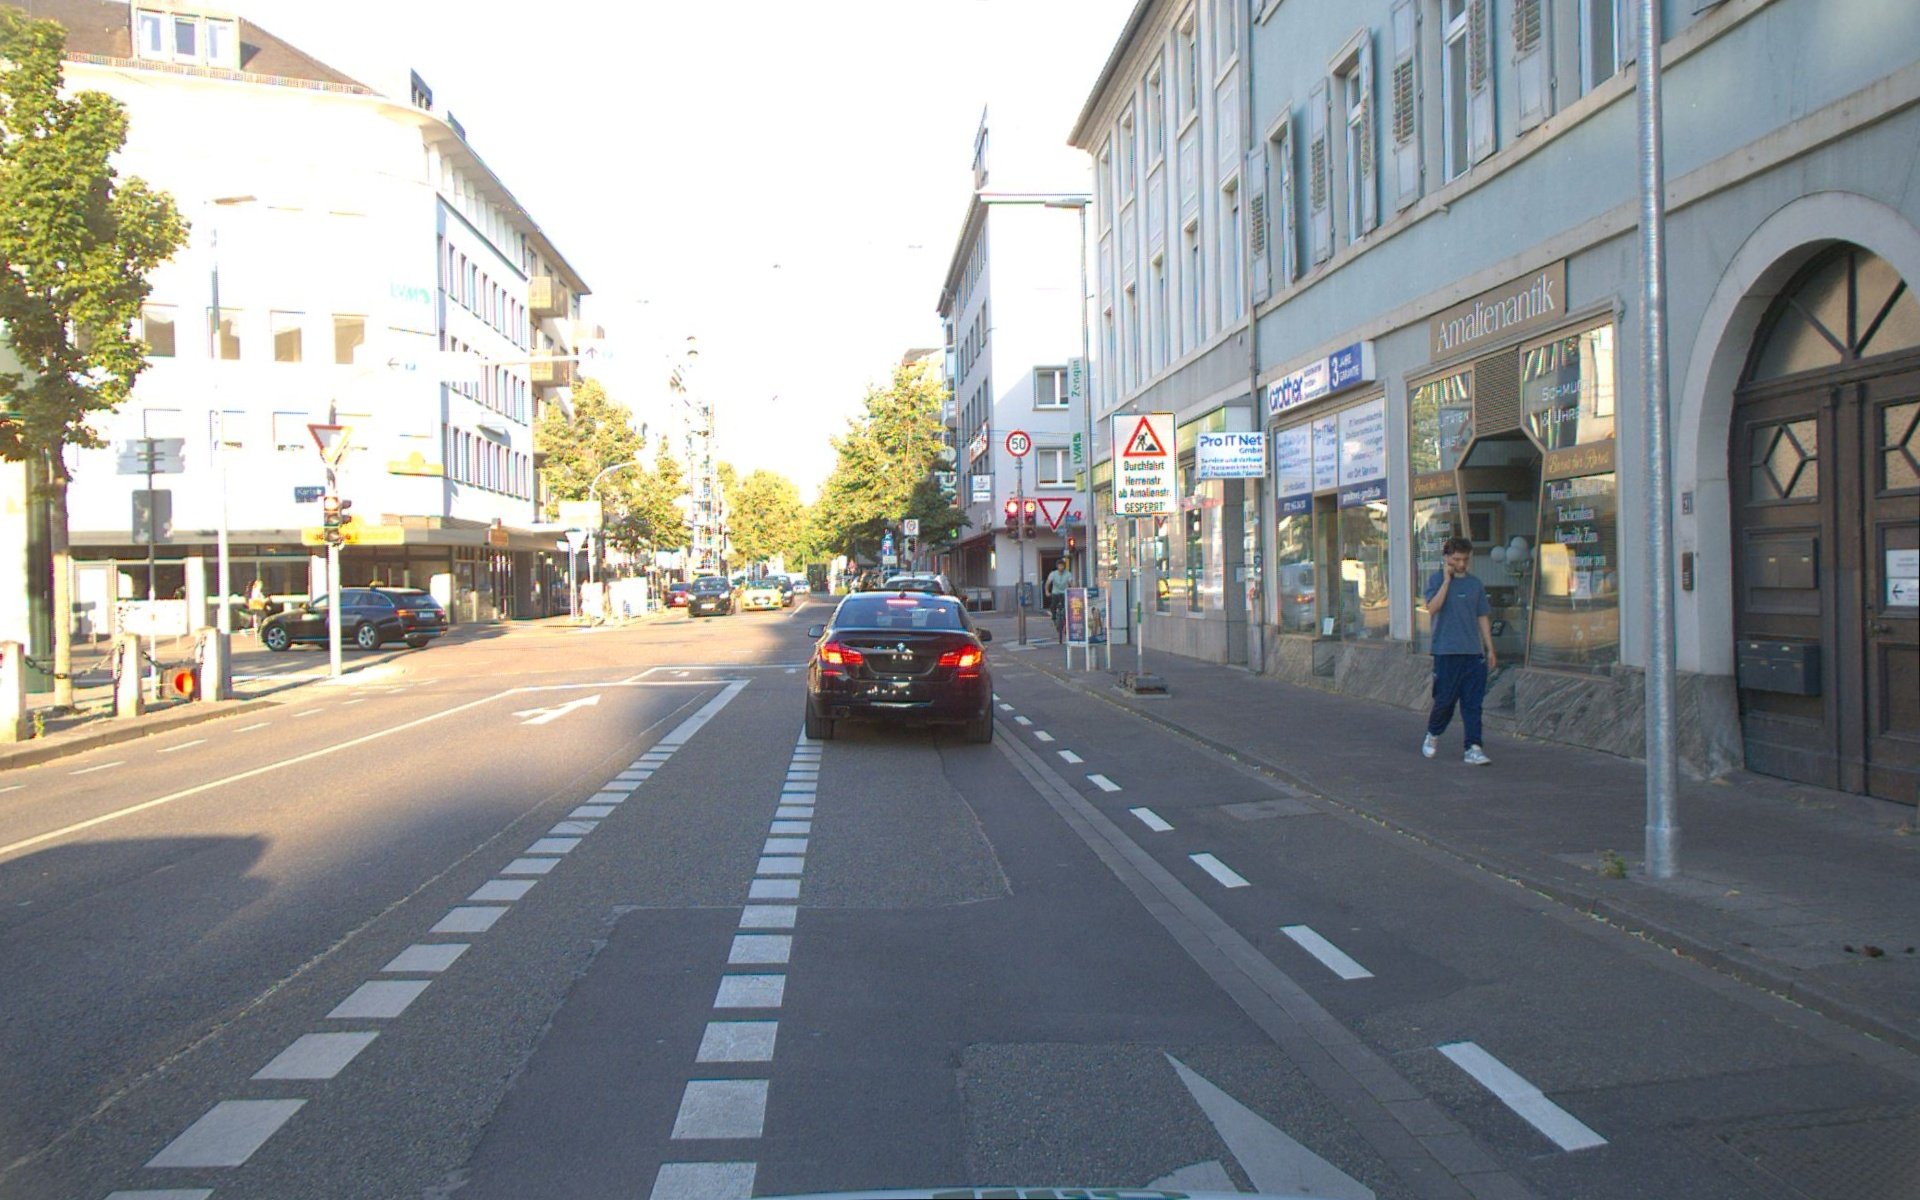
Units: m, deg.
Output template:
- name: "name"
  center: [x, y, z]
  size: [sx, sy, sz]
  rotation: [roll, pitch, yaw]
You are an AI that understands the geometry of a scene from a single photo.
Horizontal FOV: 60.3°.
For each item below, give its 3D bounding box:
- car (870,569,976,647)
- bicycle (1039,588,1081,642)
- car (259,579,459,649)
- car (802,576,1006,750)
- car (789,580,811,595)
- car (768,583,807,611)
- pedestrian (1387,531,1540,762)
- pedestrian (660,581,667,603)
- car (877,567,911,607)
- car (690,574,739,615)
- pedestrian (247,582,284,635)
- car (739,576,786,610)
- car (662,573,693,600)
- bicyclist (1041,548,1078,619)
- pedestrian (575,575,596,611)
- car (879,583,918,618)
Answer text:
- name: "car"
  center: [-0.752, 0.135, 36.529]
  size: [1.794, 1.603, 4.103]
  rotation: [-1, 1, 6]
- name: "bicycle"
  center: [2.202, 0.313, 36.565]
  size: [0.676, 1.126, 1.895]
  rotation: [-1, 1, -3]
- name: "car"
  center: [-14.578, 0.336, 40.154]
  size: [4.342, 1.623, 1.879]
  rotation: [-1, 1, 19]
- name: "car"
  center: [-0.702, 0.553, 17.464]
  size: [1.866, 1.567, 4.445]
  rotation: [1, 1, -5]
- name: "car"
  center: [-14.576, -1.181, 150.123]
  size: [1.702, 1.315, 3.991]
  rotation: [-1, 1, -10]
- name: "car"
  center: [-8.673, -0.155, 82.819]
  size: [1.702, 1.315, 3.991]
  rotation: [-1, 1, -10]
- name: "pedestrian"
  center: [3.809, 0.333, 12.570]
  size: [0.807, 1.670, 0.870]
  rotation: [-1, 1, -6]
- name: "pedestrian"
  center: [-20.272, -0.544, 113.163]
  size: [0.435, 1.441, 0.524]
  rotation: [-1, 1, -6]
- name: "car"
  center: [-3.183, -0.629, 79.638]
  size: [1.394, 1.887, 3.048]
  rotation: [0, 0, -7]
- name: "car"
  center: [-10.491, -0.236, 70.445]
  size: [1.957, 1.646, 3.991]
  rotation: [-1, 1, -10]
- name: "pedestrian"
  center: [-20.750, 0.248, 49.418]
  size: [0.935, 1.564, 0.900]
  rotation: [-1, 1, -28]
- name: "car"
  center: [-9.107, -0.348, 76.011]
  size: [1.957, 1.467, 3.991]
  rotation: [-1, 1, -10]
- name: "car"
  center: [-16.563, -0.806, 96.963]
  size: [1.702, 1.487, 3.991]
  rotation: [-1, 1, -10]
- name: "bicyclist"
  center: [2.191, -0.371, 36.603]
  size: [0.707, 1.534, 0.899]
  rotation: [-1, 1, -3]
- name: "pedestrian"
  center: [-17.798, -0.348, 78.680]
  size: [0.807, 1.705, 0.870]
  rotation: [-1, 1, -5]
- name: "car"
  center: [-2.728, 0.006, 73.116]
  size: [1.593, 1.497, 3.392]
  rotation: [0, 0, -4]
